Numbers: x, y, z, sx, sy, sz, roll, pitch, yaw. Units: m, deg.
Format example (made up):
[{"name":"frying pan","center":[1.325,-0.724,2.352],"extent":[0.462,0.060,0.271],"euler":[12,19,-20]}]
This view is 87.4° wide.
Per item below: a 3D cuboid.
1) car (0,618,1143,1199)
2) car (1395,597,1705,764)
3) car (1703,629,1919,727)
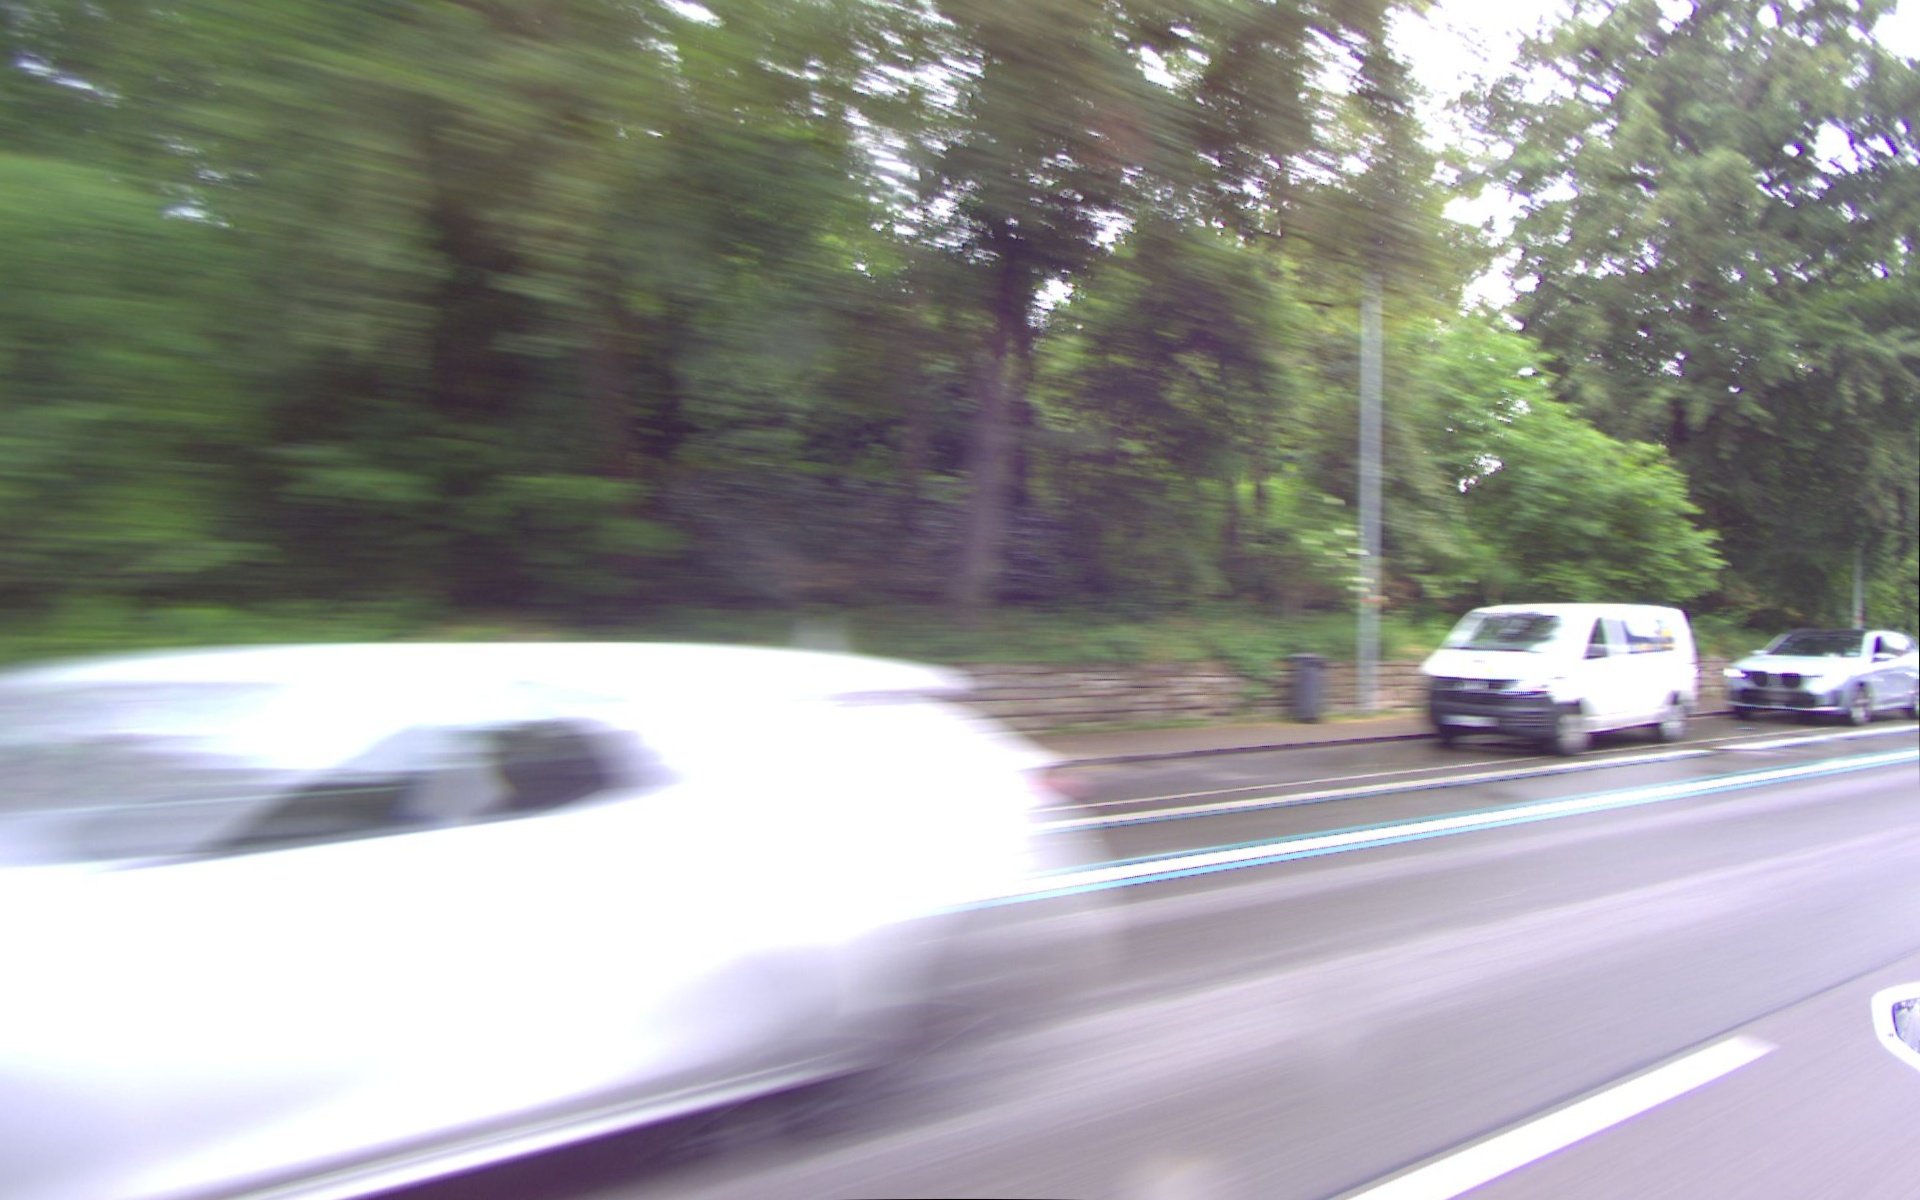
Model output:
[{"name":"car","center":[-1.557,0.835,3.085],"extent":[4.016,1.485,1.767],"euler":[1,-3,-31]},{"name":"car","center":[8.607,1.014,14.503],"extent":[4.967,2.031,1.961],"euler":[1,0,-35]},{"name":"car","center":[16.240,1.373,18.913],"extent":[4.725,1.627,2.000],"euler":[1,-2,-31]}]
